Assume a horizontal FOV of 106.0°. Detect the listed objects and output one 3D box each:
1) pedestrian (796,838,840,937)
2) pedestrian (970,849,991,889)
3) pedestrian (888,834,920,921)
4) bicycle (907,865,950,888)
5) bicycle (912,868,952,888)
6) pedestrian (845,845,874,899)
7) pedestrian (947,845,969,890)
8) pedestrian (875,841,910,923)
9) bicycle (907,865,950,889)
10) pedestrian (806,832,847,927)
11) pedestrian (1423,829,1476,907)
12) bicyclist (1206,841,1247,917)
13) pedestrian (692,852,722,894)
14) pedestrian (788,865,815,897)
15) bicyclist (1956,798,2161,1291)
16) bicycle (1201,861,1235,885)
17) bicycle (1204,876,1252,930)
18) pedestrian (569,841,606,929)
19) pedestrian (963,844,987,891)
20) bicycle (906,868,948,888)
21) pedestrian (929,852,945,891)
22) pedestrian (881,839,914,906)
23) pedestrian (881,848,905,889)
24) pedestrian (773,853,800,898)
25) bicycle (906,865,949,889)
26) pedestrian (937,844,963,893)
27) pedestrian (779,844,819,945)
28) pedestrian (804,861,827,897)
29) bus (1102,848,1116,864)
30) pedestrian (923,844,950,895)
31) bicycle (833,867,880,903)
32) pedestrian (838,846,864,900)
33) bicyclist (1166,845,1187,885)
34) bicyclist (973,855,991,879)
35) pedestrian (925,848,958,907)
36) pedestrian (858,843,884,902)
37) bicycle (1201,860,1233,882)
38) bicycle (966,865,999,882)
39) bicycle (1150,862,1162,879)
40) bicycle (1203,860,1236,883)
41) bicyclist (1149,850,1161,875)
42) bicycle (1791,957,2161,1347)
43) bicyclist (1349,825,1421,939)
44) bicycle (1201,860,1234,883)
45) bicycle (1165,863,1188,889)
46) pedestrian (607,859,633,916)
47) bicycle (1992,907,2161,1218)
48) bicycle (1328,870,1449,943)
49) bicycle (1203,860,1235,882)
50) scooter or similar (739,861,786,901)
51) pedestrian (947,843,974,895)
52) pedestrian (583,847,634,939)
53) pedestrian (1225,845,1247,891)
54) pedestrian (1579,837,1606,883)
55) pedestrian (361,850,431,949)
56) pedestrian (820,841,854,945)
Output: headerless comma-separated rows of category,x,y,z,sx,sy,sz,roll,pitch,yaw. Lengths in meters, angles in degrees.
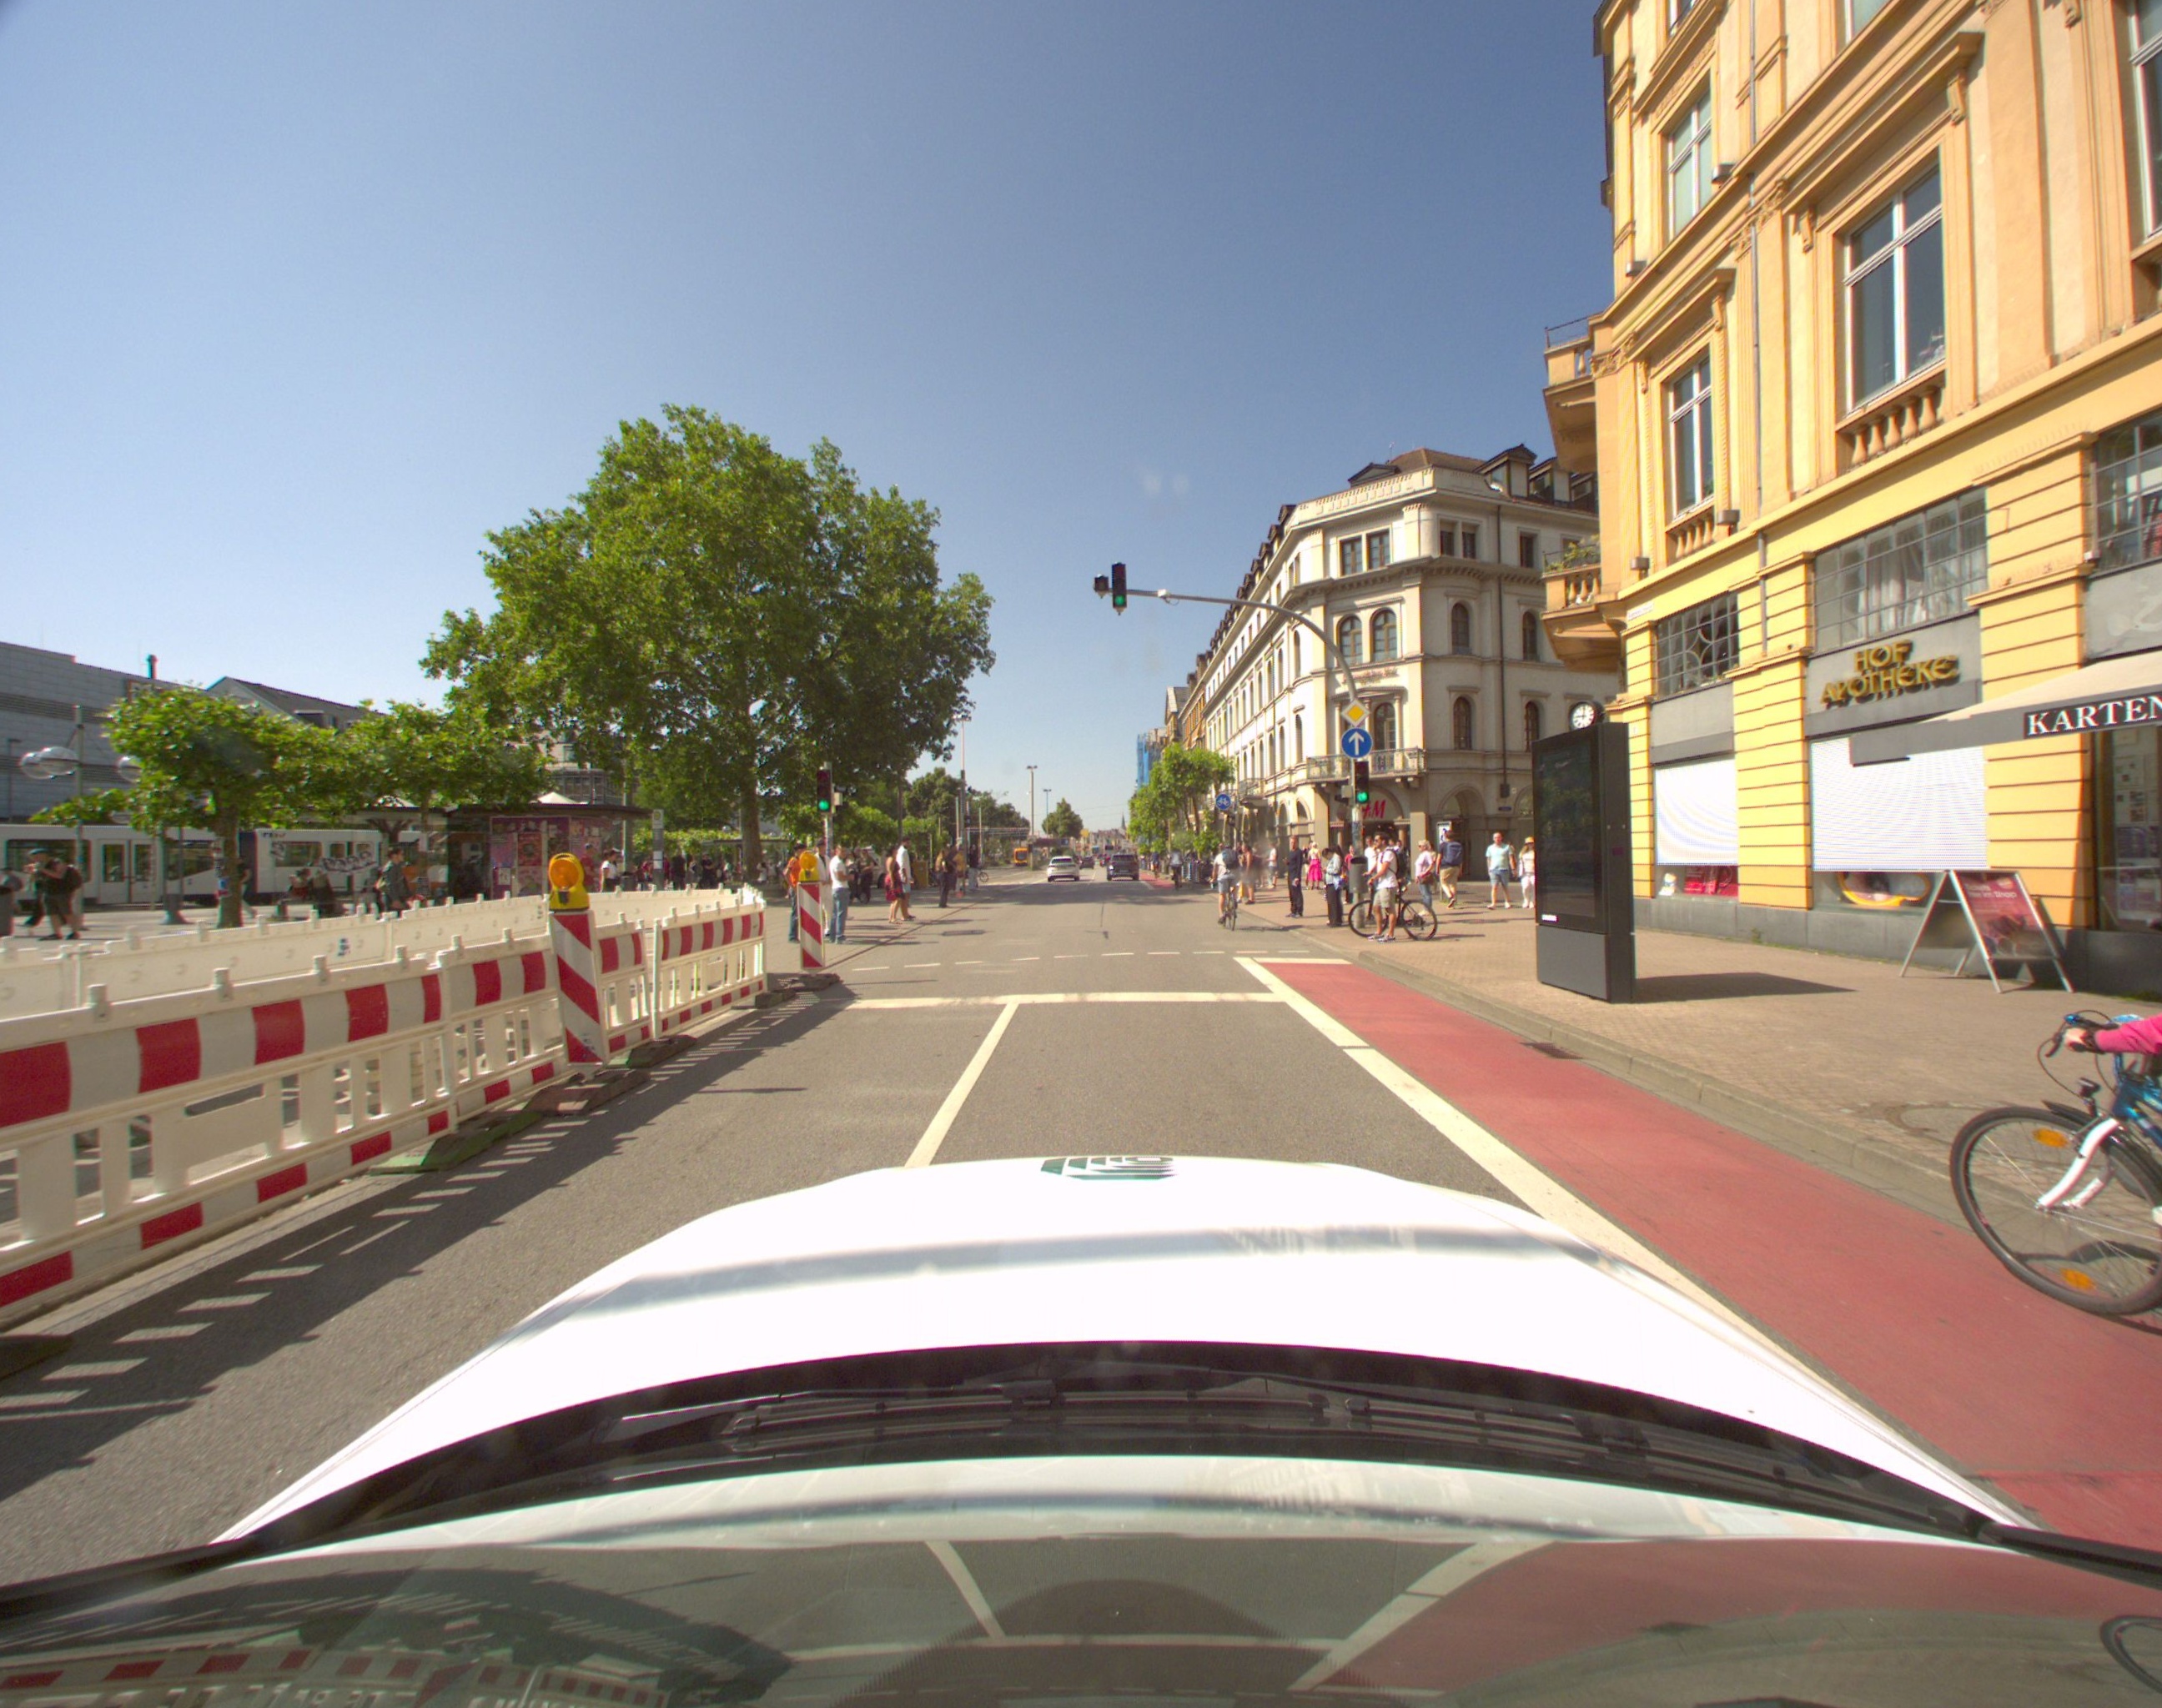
pedestrian,-4.798,0.598,14.899,0.536,1.779,0.607,0,-1,7
pedestrian,-4.188,0.616,33.799,0.611,1.668,0.596,-1,-1,31
pedestrian,-4.028,0.523,18.560,0.529,1.918,0.560,-1,2,3
bicycle,-7.742,1.140,41.434,2.082,1.089,0.682,-1,-1,-10
bicycle,-7.969,1.269,43.666,2.082,0.980,0.682,-1,-1,-10
pedestrian,-7.478,0.600,27.501,0.627,1.810,0.735,-1,-1,22
pedestrian,-5.075,0.558,33.623,0.611,1.823,0.668,-1,-1,31
pedestrian,-4.114,0.604,17.824,0.573,1.758,0.639,-1,-1,3
bicycle,-7.608,1.144,40.780,2.082,1.089,0.682,-1,-1,-10
pedestrian,-5.206,0.514,16.665,0.573,1.891,0.654,0,-1,3
pedestrian,8.694,0.341,19.265,0.655,1.790,1.233,-1,-2,1
bicyclist,2.915,0.488,16.385,0.628,1.481,1.198,0,-1,1
pedestrian,-13.570,0.685,29.564,0.627,1.478,0.735,-1,-1,22
pedestrian,-10.180,0.967,29.682,0.627,1.144,0.669,-1,-1,22
bicyclist,3.271,0.522,2.395,0.598,1.358,0.721,-1,-1,2
bicycle,6.106,0.839,36.242,1.415,0.980,0.445,-2,1,2
bicycle,2.913,0.949,16.316,0.628,0.980,2.089,0,-1,1
pedestrian,-10.820,0.671,17.847,0.666,1.879,0.625,1,-1,-32
pedestrian,-4.195,0.545,32.219,0.626,1.834,0.735,-1,-1,31
bicycle,-8.013,1.234,42.442,2.082,0.980,0.682,-1,-1,-10
pedestrian,-6.574,0.794,37.194,0.608,1.725,0.677,-1,-1,0
pedestrian,-5.168,0.512,22.947,0.627,1.859,0.690,-1,-1,22
pedestrian,-8.207,0.646,35.602,0.671,1.764,0.771,-1,-1,31
pedestrian,-10.504,0.768,29.057,0.627,1.565,0.669,-1,-1,22
bicycle,-7.547,1.139,40.103,2.082,1.089,0.682,-1,-1,-10
pedestrian,-4.959,0.543,30.868,0.626,1.859,0.735,-1,-1,31
pedestrian,-4.917,0.692,14.195,0.543,1.718,0.600,1,-1,-30
pedestrian,-10.370,0.979,31.802,0.729,1.386,0.664,-1,-1,-6
bus,6.563,0.491,191.333,2.984,3.594,11.746,-1,-1,1
pedestrian,-5.367,0.568,30.225,0.626,1.859,0.735,-1,-1,31
bicycle,-6.926,0.950,25.183,0.486,1.029,1.941,-1,0,14
pedestrian,-7.356,0.591,26.051,0.573,1.711,0.607,0,-1,6
bicyclist,3.985,0.446,34.140,0.771,1.635,0.851,-1,0,2
bicyclist,-6.286,0.832,51.652,1.052,1.503,0.736,-1,0,-19
pedestrian,-3.858,0.638,22.520,0.627,1.595,0.690,-1,-1,22
pedestrian,-6.442,0.566,25.035,0.573,1.779,0.607,0,-1,7
bicycle,6.408,0.801,38.469,1.415,0.980,0.445,-2,1,2
bicycle,-6.253,1.204,51.631,1.968,1.026,0.674,-1,0,-21
bicycle,4.605,1.030,50.101,0.645,0.998,2.031,-1,0,1
bicycle,6.392,0.799,37.521,1.415,0.980,0.445,-2,1,2
bicyclist,4.535,0.507,50.110,0.645,1.551,0.818,-1,0,1
bicycle,3.283,0.895,2.409,0.598,0.926,2.088,-1,-1,2
bicyclist,5.018,0.453,13.453,0.577,1.797,0.848,-3,0,-33
bicycle,6.226,0.803,37.063,1.415,0.980,0.445,-2,1,2
bicycle,3.998,0.890,34.158,0.771,1.006,2.330,-1,0,2
pedestrian,-15.316,1.105,27.056,0.499,1.859,0.550,-1,-1,23
bicycle,4.981,0.799,3.387,1.777,1.122,0.562,-2,0,-2
bicycle,5.036,0.836,13.456,0.604,1.082,1.820,-3,0,-33
bicycle,6.577,0.797,38.901,1.415,0.980,0.401,-2,1,2
scooter or similar,-11.711,0.970,29.908,1.264,1.421,1.045,-1,-1,32
pedestrian,-4.227,0.515,28.697,0.627,1.794,0.735,-1,-1,22
pedestrian,-9.157,0.740,15.809,0.573,1.739,0.607,0,-1,7
pedestrian,5.709,0.516,30.075,0.581,1.673,0.605,-4,-1,0
pedestrian,19.018,0.216,30.264,0.543,1.716,0.671,0,0,-29
pedestrian,-10.904,0.701,12.977,0.573,1.532,0.607,0,-1,7
pedestrian,-4.212,0.656,14.042,0.431,1.740,0.600,1,-1,-29
